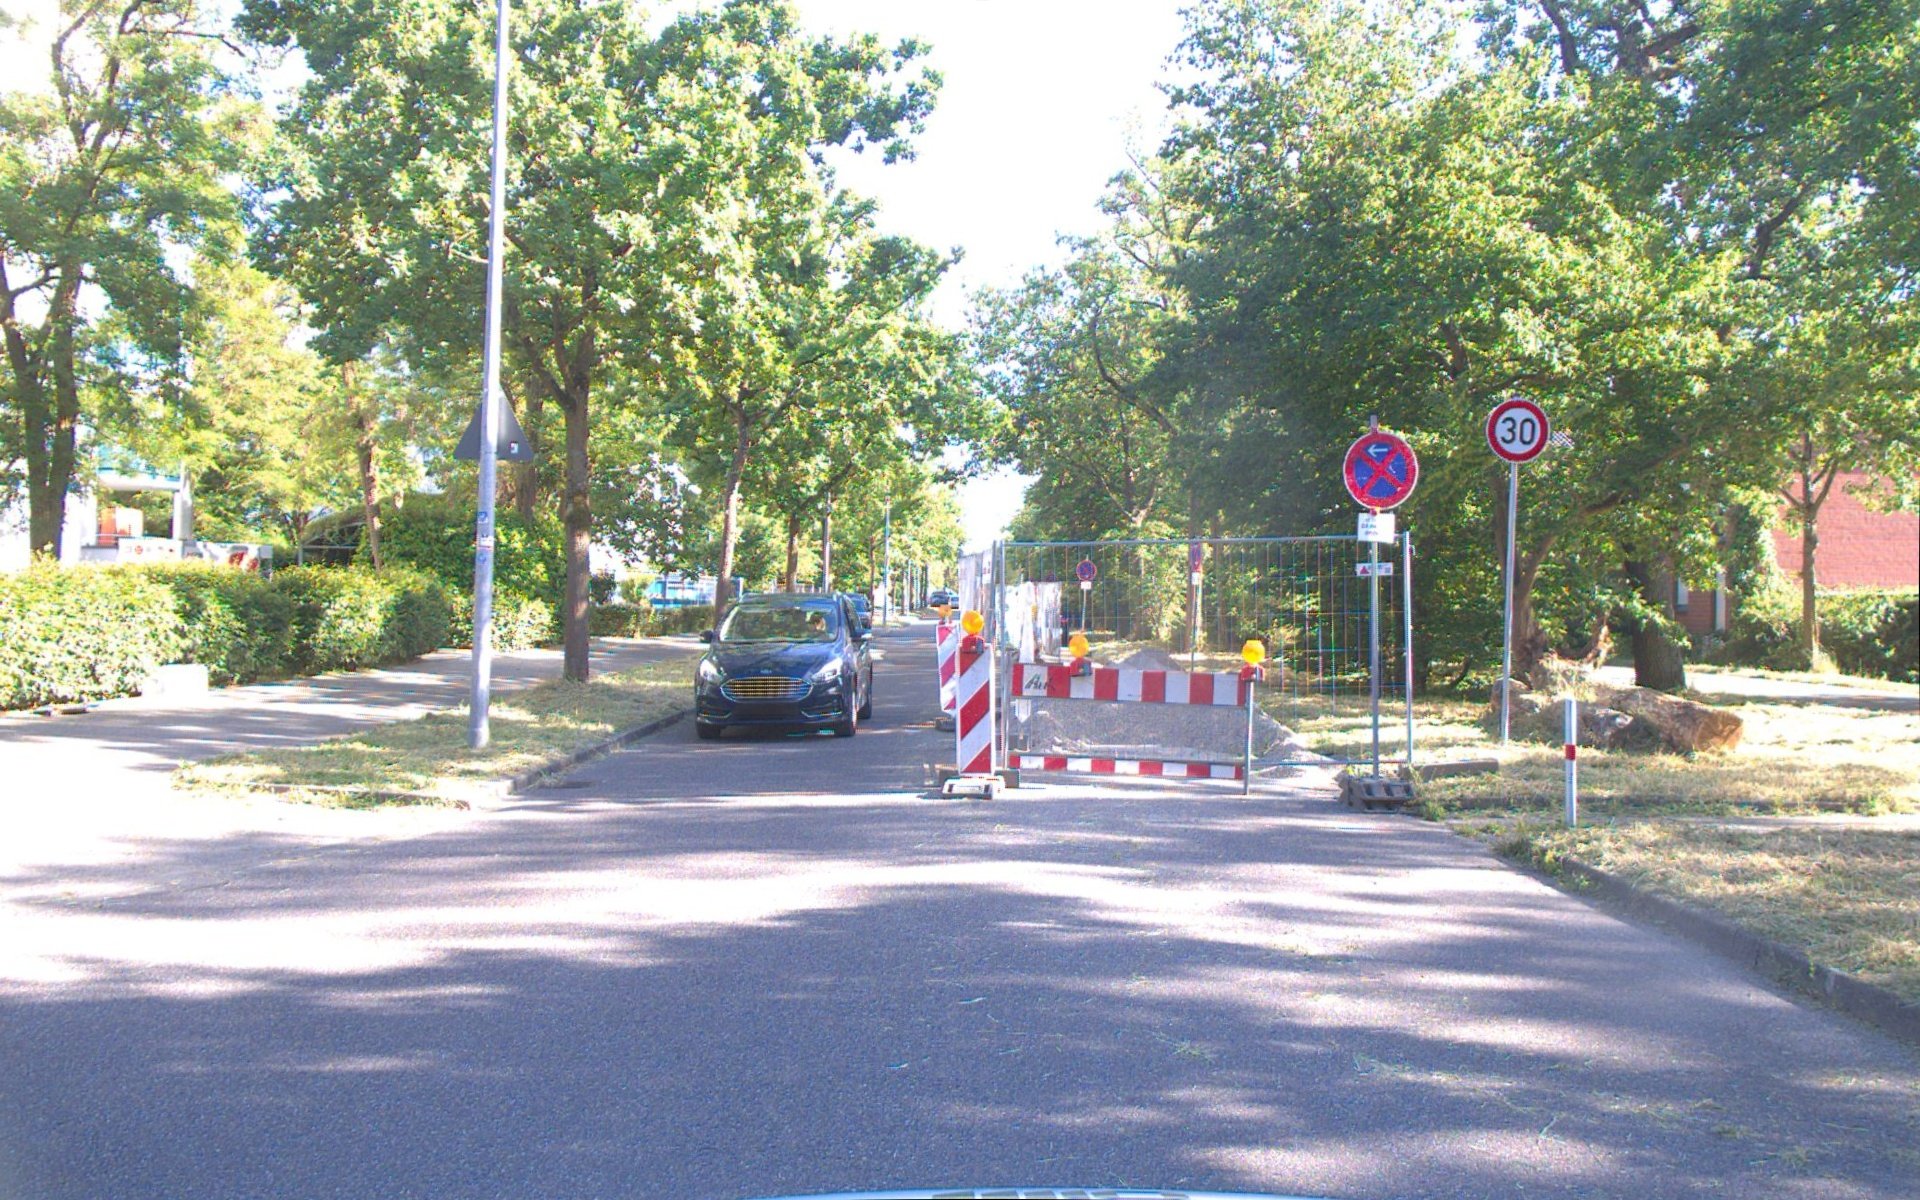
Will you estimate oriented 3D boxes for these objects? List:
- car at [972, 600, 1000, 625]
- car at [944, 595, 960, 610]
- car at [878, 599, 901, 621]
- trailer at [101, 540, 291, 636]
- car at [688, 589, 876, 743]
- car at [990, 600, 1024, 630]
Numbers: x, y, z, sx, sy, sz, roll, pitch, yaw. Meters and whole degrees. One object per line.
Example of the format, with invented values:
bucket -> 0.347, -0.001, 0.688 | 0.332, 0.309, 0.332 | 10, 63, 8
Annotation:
car -> 1.412, 0.686, 90.602 | 1.334, 1.325, 3.480 | 2, -1, -2
car -> -0.933, 0.261, 189.005 | 1.676, 1.613, 3.997 | 2, -1, -3
car -> -4.372, 0.621, 103.164 | 1.334, 1.325, 3.480 | 2, -1, -2
trailer -> -17.718, -0.263, 38.606 | 1.934, 2.078, 4.433 | 1, 0, 7
car -> -2.056, 0.718, 20.322 | 1.784, 1.653, 4.492 | -1, 0, 0
car -> 2.182, 0.690, 77.633 | 1.334, 1.325, 3.480 | 2, -1, -2
